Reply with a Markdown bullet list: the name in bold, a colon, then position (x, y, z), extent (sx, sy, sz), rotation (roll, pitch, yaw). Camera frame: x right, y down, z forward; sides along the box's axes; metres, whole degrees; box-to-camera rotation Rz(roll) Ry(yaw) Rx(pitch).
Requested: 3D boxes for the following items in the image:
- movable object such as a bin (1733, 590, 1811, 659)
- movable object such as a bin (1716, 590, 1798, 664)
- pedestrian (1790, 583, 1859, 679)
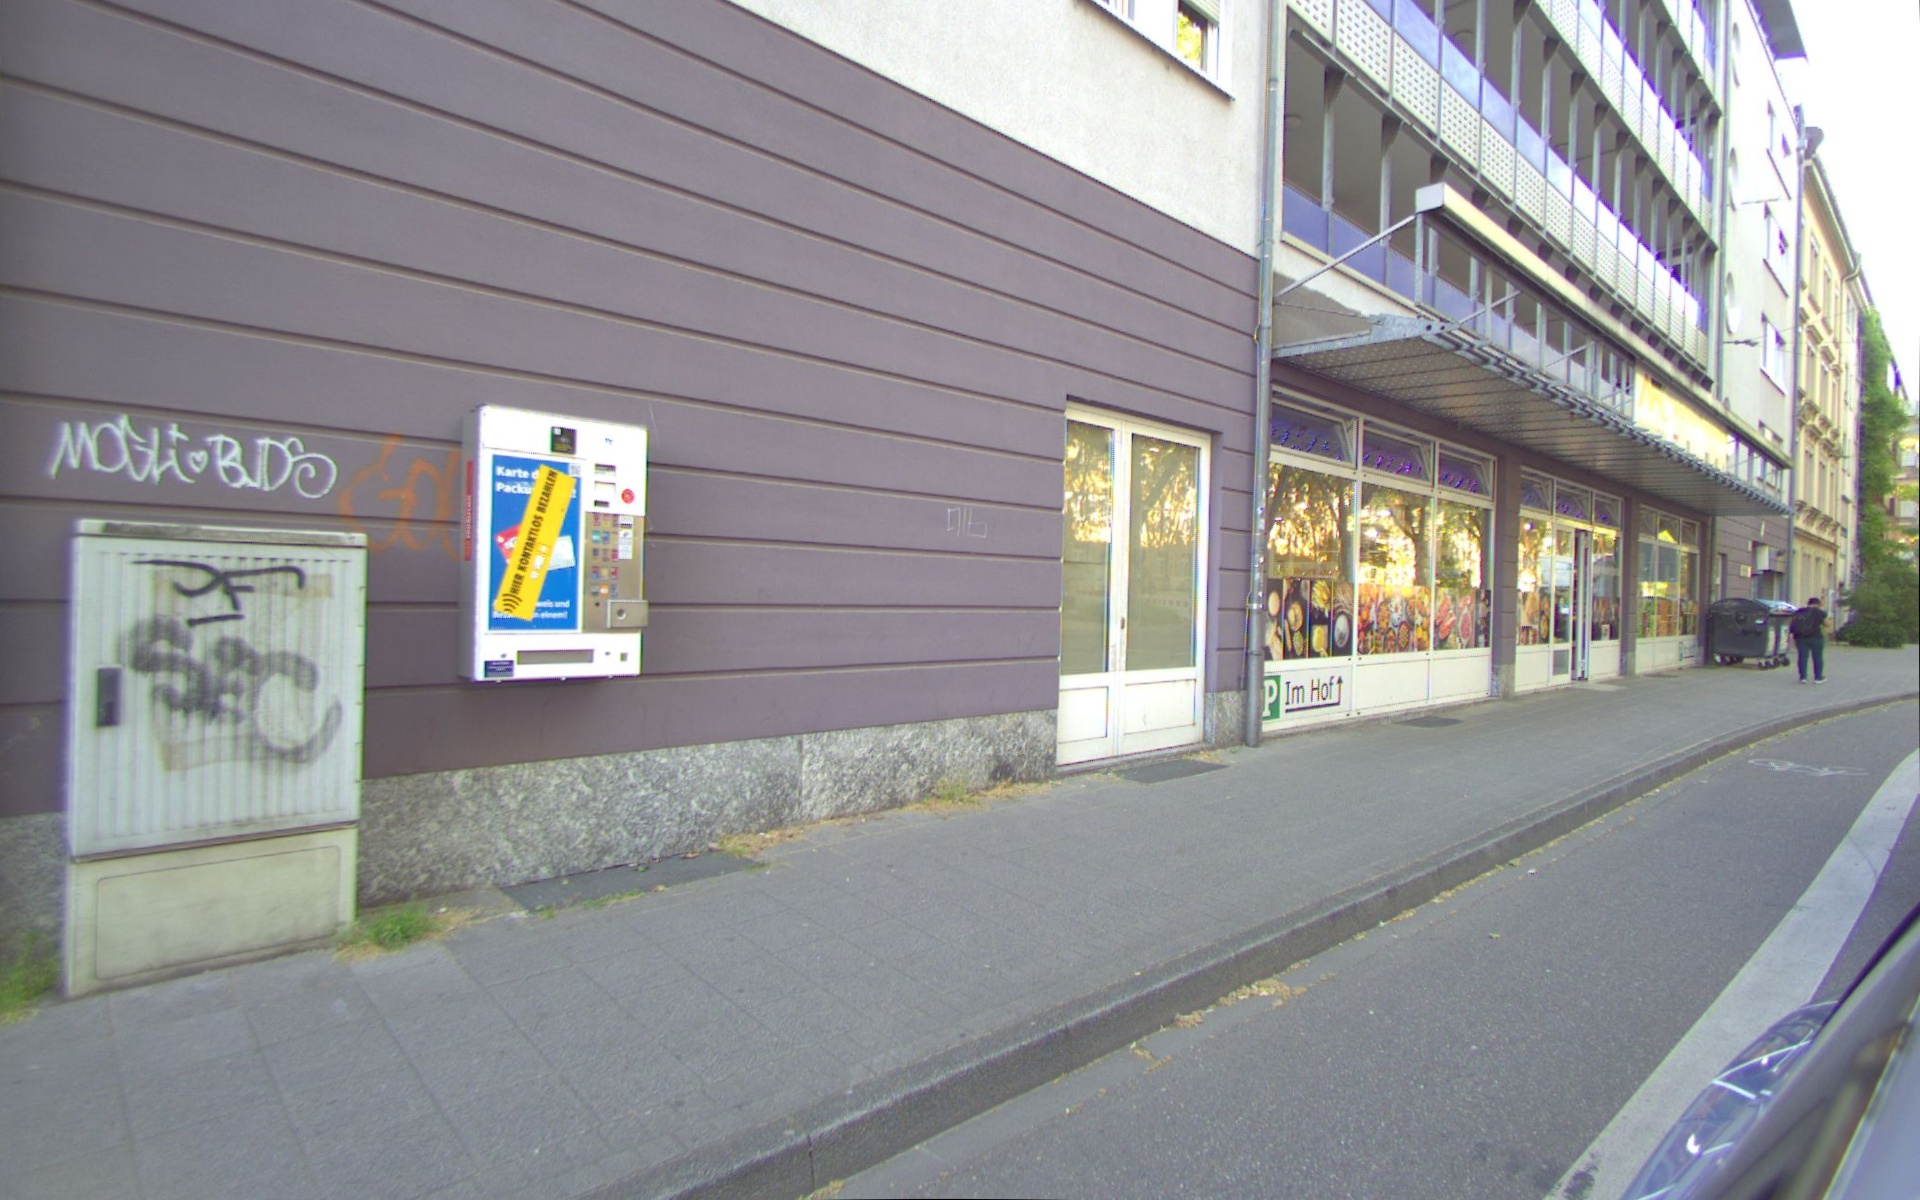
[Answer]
- **movable object such as a bin**: position (17.776, 0.513, 22.154), extent (0.923, 1.444, 1.158), rotation (1, 1, -40)
- **movable object such as a bin**: position (16.337, 0.536, 20.755), extent (0.923, 1.444, 1.158), rotation (1, 1, -40)
- **pedestrian**: position (15.128, 0.519, 17.715), extent (0.862, 1.612, 0.613), rotation (2, 1, 44)
